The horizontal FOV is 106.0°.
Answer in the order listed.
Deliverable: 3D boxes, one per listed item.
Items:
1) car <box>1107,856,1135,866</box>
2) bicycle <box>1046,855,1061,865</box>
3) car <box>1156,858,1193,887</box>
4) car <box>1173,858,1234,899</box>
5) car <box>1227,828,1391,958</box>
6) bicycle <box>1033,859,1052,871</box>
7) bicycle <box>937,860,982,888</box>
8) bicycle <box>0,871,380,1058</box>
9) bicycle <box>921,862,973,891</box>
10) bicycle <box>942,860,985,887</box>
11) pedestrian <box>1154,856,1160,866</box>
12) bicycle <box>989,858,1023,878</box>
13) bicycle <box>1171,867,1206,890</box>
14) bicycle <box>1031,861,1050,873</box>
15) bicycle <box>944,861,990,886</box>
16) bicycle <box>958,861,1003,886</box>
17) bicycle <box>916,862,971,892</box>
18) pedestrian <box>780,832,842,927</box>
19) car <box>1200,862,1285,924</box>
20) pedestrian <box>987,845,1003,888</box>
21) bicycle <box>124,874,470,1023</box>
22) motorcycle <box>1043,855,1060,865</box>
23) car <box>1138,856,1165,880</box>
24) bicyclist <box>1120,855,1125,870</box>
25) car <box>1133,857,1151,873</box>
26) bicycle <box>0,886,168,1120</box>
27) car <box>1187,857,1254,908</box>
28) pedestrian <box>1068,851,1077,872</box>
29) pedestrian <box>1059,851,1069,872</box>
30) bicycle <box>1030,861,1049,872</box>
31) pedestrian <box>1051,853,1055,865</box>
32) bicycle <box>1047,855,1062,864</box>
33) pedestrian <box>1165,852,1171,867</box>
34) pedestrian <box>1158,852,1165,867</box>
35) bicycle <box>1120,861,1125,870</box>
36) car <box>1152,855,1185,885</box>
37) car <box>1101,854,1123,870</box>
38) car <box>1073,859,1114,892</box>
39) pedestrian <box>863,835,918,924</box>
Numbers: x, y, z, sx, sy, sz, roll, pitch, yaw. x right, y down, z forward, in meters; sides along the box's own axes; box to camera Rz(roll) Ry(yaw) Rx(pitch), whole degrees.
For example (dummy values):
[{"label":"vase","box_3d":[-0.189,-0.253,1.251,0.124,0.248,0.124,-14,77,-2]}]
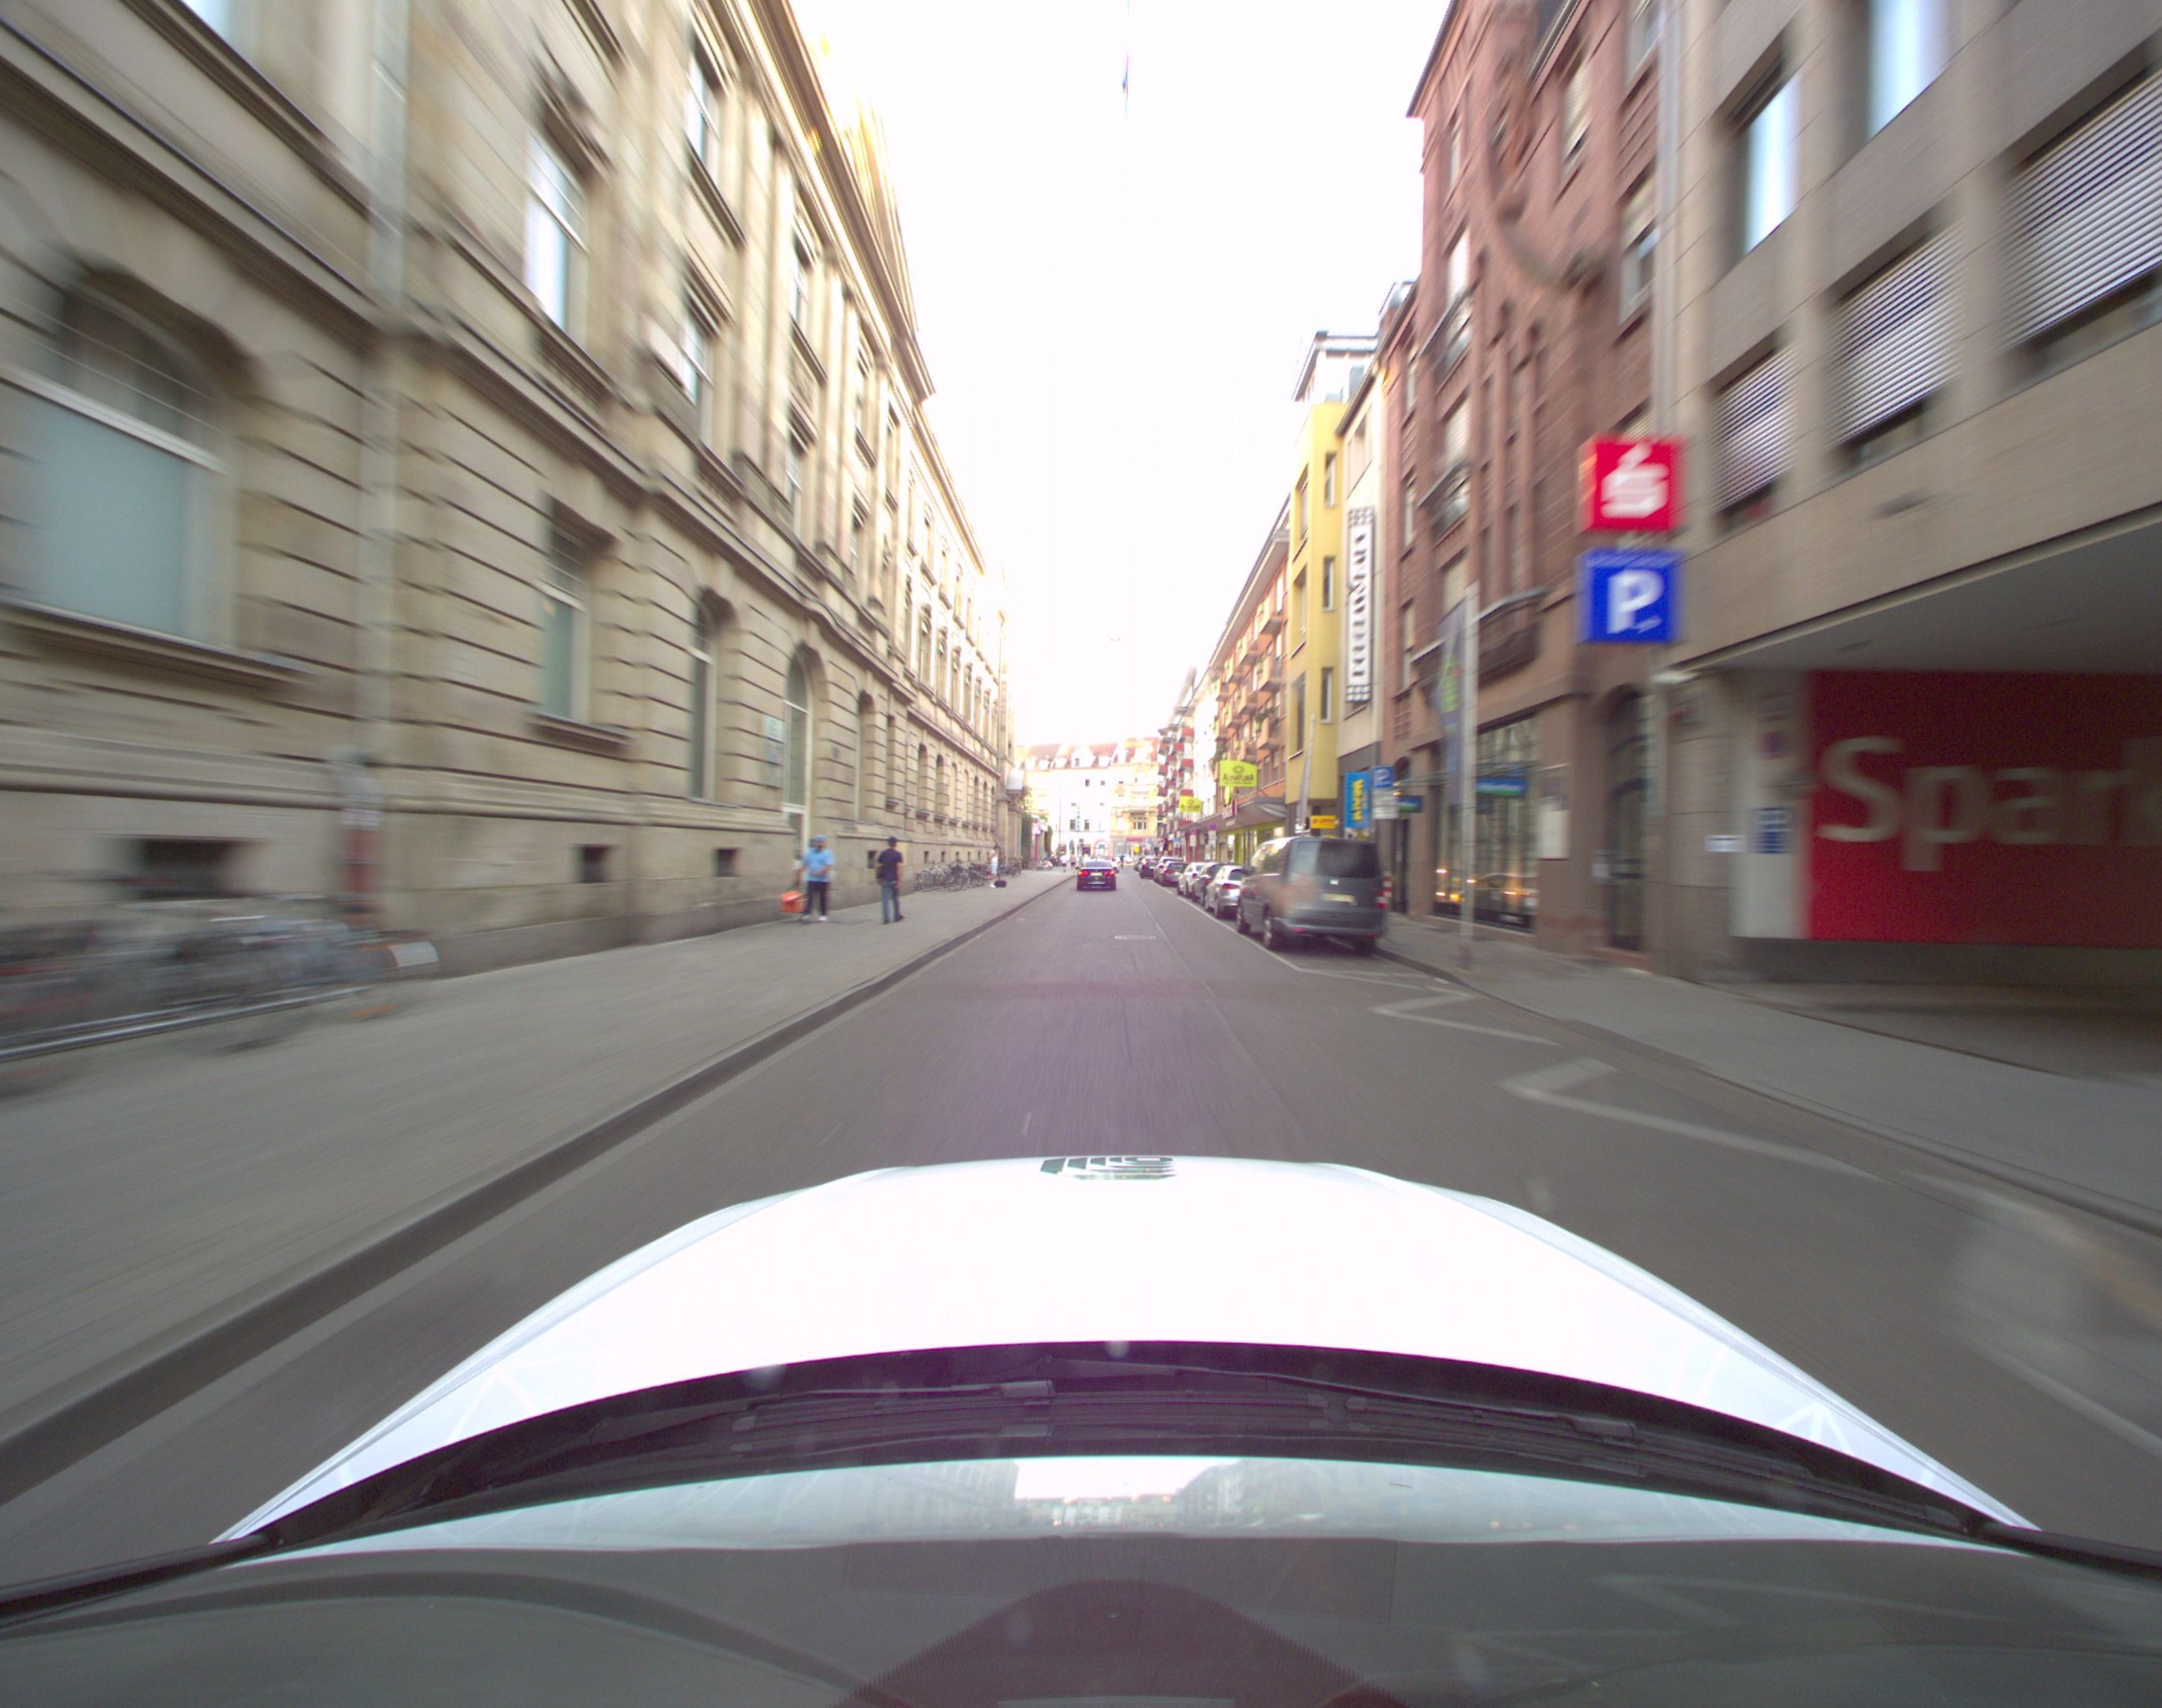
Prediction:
[{"label":"car","box_3d":[6.567,1.141,133.719,4.312,1.562,1.879,0,-1,24]},{"label":"bicycle","box_3d":[-3.286,0.678,97.923,1.786,1.107,0.501,2,0,4]},{"label":"car","box_3d":[5.220,1.016,46.012,1.685,1.414,4.759,3,0,3]},{"label":"car","box_3d":[4.895,0.958,33.158,1.686,1.411,4.637,3,0,-1]},{"label":"car","box_3d":[4.168,0.657,15.790,1.840,2.058,5.055,2,-1,1]},{"label":"bicycle","box_3d":[-3.796,1.076,81.109,1.786,1.107,0.501,1,0,5]},{"label":"bicycle","box_3d":[-5.084,0.819,34.243,1.791,1.108,0.499,2,-1,-4]},{"label":"bicycle","box_3d":[-6.055,0.703,5.502,1.930,1.078,0.748,3,-1,1]},{"label":"bicycle","box_3d":[-5.254,0.867,32.026,1.933,1.061,0.619,2,-1,-4]},{"label":"bicycle","box_3d":[-5.093,0.835,35.444,1.791,1.108,0.499,2,-1,-4]},{"label":"pedestrian","box_3d":[9.643,0.890,103.348,0.682,1.286,0.610,-1,-1,11]},{"label":"bicycle","box_3d":[-4.631,0.866,50.165,1.939,1.061,0.617,4,-1,-13]},{"label":"bicycle","box_3d":[5.185,1.193,39.158,1.746,1.055,0.652,2,0,-40]},{"label":"bicycle","box_3d":[-3.943,1.216,78.587,1.787,1.107,0.500,1,0,1]},{"label":"bicycle","box_3d":[-5.058,0.863,36.258,1.933,1.061,0.619,2,-1,-4]},{"label":"bicycle","box_3d":[-4.592,0.903,37.290,1.931,1.061,0.619,2,-1,-1]},{"label":"bicycle","box_3d":[-5.181,0.872,30.775,1.930,1.061,0.620,2,-1,0]},{"label":"pedestrian","box_3d":[-5.190,0.472,15.712,0.825,1.746,0.769,3,0,2]},{"label":"car","box_3d":[4.422,1.007,22.877,1.680,1.453,4.502,3,0,3]},{"label":"pedestrian","box_3d":[-3.734,0.543,35.491,0.586,1.851,0.753,2,0,-4]},{"label":"bicycle","box_3d":[-6.098,0.716,6.423,1.930,1.046,0.721,2,0,-3]},{"label":"motorcycle","box_3d":[-3.478,0.713,95.898,1.783,1.064,0.769,2,0,27]},{"label":"car","box_3d":[5.263,0.997,60.238,1.785,1.610,4.494,3,0,6]},{"label":"bicyclist","box_3d":[5.021,1.011,98.133,0.521,1.756,0.620,1,-1,3]},{"label":"car","box_3d":[6.728,1.200,89.711,1.758,1.642,4.793,3,0,2]},{"label":"bicycle","box_3d":[-6.231,0.715,4.239,1.934,1.078,0.729,3,-1,-5]},{"label":"car","box_3d":[4.714,0.920,27.987,1.612,1.516,4.174,3,0,1]},{"label":"pedestrian","box_3d":[-0.760,0.677,75.260,0.741,1.893,1.051,2,0,3]},{"label":"pedestrian","box_3d":[-1.578,0.677,74.915,0.738,1.812,1.009,3,0,1]},{"label":"bicycle","box_3d":[-4.059,1.218,78.936,1.788,1.107,0.500,1,0,0]},{"label":"pedestrian","box_3d":[-3.894,0.649,111.711,0.498,1.643,0.521,0,0,4]},{"label":"bicycle","box_3d":[-3.238,0.679,98.671,1.790,1.107,0.499,2,0,-3]},{"label":"pedestrian","box_3d":[9.907,0.673,92.902,0.645,1.661,0.794,-2,-1,4]},{"label":"pedestrian","box_3d":[9.190,0.672,92.978,0.645,1.661,0.656,-2,-1,4]},{"label":"bicycle","box_3d":[5.014,1.408,98.153,0.534,1.107,1.801,1,0,3]},{"label":"car","box_3d":[5.433,0.964,50.980,1.745,1.668,4.759,3,0,3]},{"label":"car","box_3d":[2.912,0.729,75.853,1.868,1.473,4.007,0,0,6]},{"label":"car","box_3d":[0.648,0.945,38.459,1.758,1.375,4.793,1,0,3]},{"label":"pedestrian","box_3d":[-3.903,0.512,16.723,0.806,1.750,0.970,2,-1,2]}]
